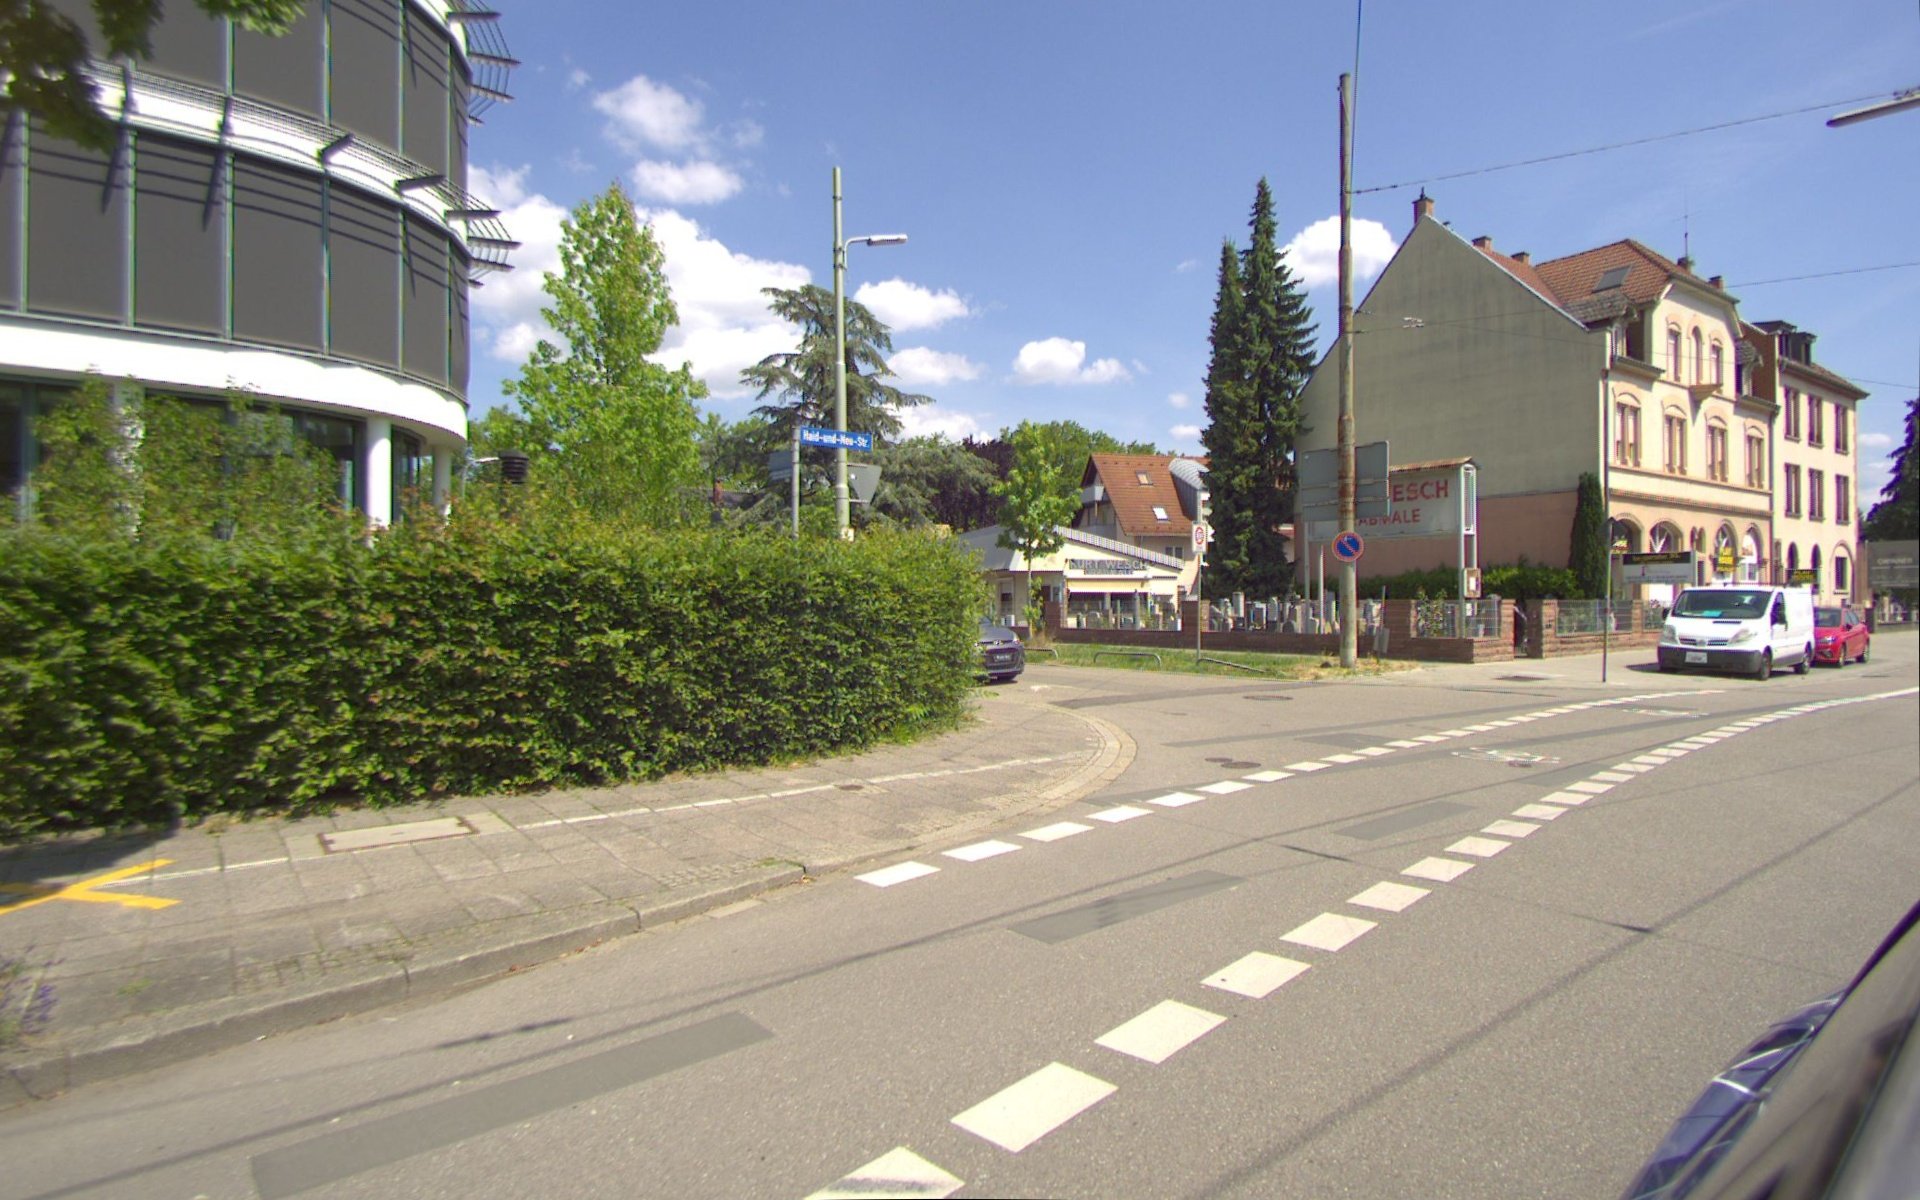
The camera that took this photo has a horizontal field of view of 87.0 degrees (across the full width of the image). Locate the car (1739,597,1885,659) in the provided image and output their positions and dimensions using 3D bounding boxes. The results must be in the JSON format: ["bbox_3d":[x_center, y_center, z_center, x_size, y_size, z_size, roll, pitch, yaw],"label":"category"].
[{"bbox_3d":[21.788,0.695,25.844,3.942,1.461,1.998,0,-2,-37],"label":"car"}]

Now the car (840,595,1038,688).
[{"bbox_3d":[-0.457,0.686,18.012,1.726,1.470,3.609,0,-1,-38],"label":"car"}]

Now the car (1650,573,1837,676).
[{"bbox_3d":[17.417,0.456,22.399,5.413,2.016,1.999,0,1,-38],"label":"car"}]
